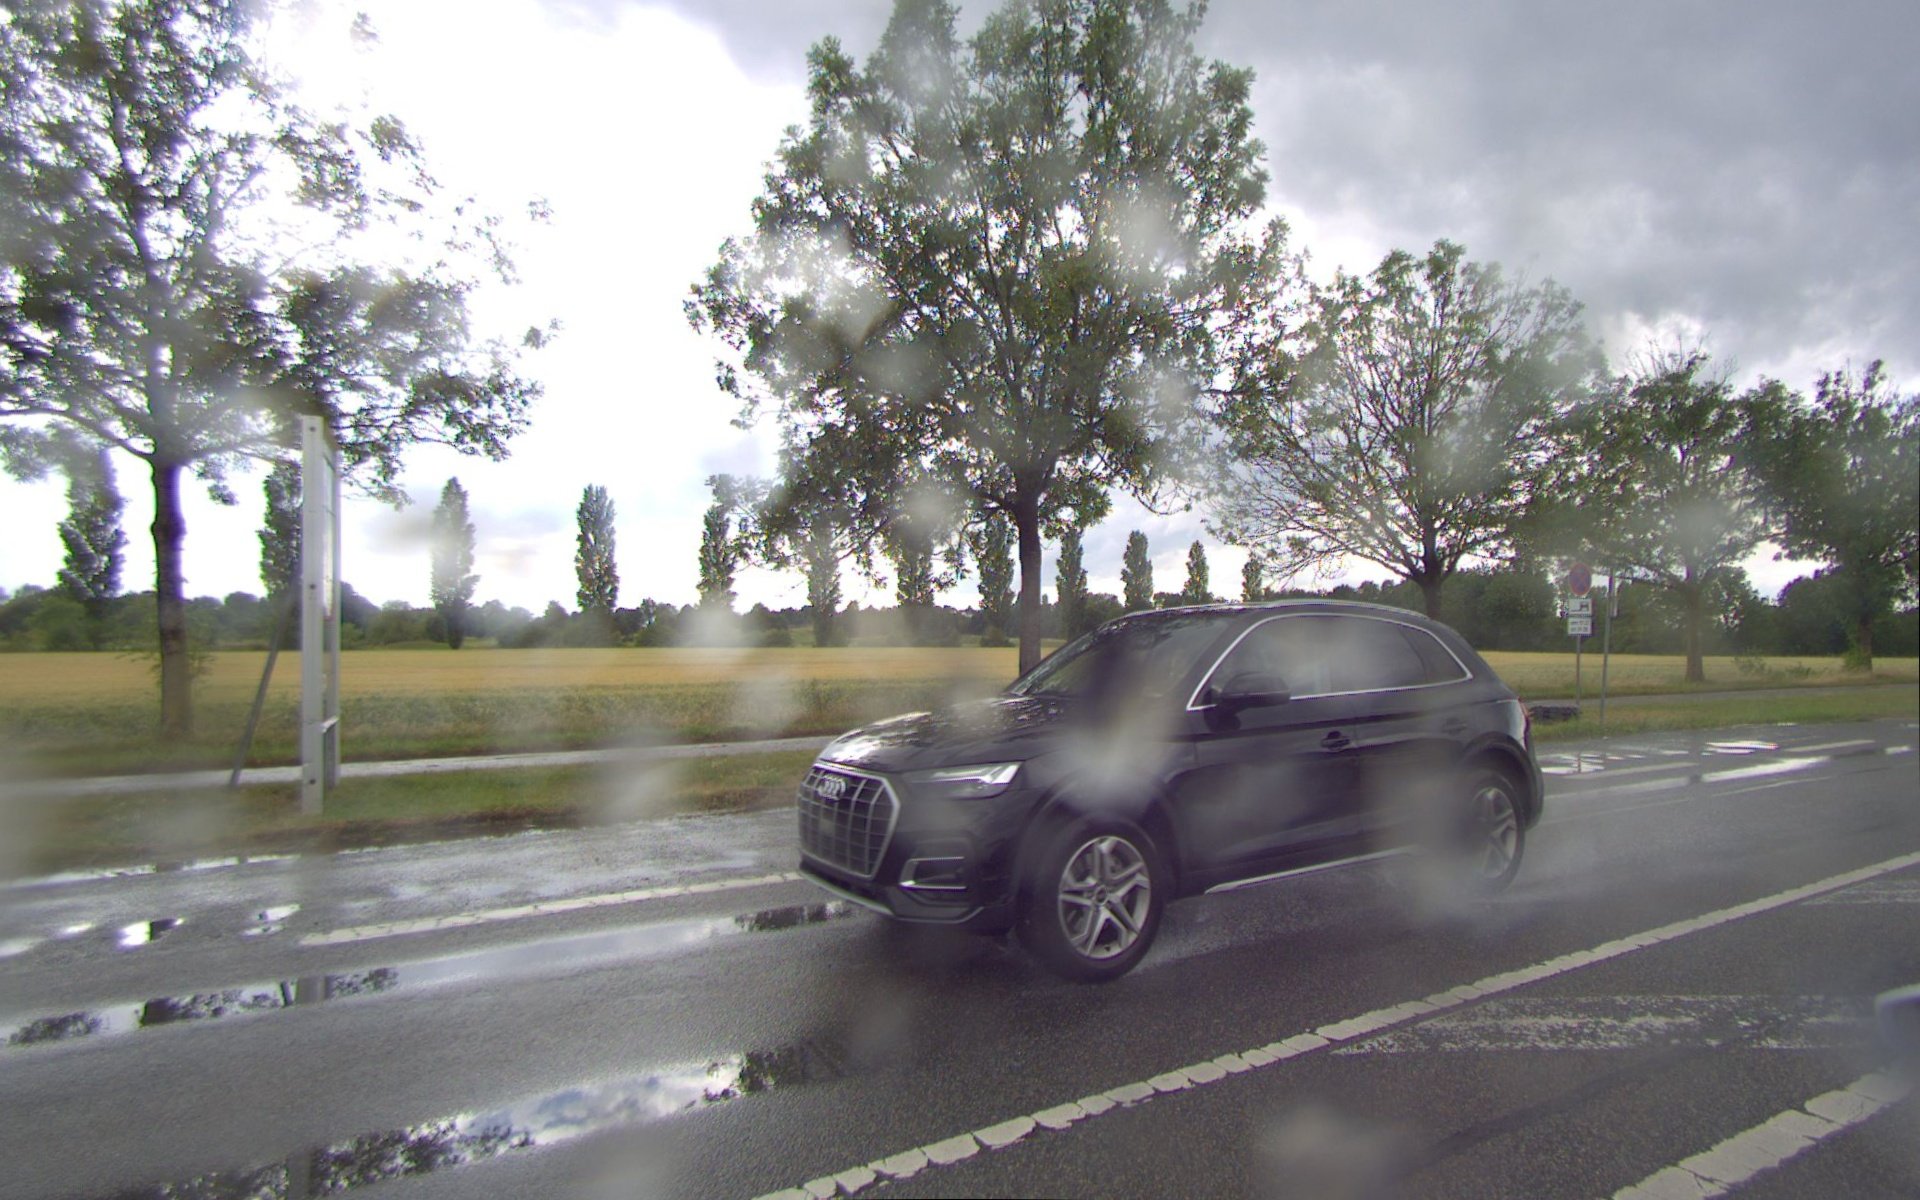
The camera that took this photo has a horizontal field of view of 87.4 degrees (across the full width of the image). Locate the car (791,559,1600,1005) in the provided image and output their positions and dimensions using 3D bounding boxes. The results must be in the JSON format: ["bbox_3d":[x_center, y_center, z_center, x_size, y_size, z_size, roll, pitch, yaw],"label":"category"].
[{"bbox_3d":[1.415,0.802,5.683,4.306,1.653,1.908,2,-5,-30],"label":"car"}]
